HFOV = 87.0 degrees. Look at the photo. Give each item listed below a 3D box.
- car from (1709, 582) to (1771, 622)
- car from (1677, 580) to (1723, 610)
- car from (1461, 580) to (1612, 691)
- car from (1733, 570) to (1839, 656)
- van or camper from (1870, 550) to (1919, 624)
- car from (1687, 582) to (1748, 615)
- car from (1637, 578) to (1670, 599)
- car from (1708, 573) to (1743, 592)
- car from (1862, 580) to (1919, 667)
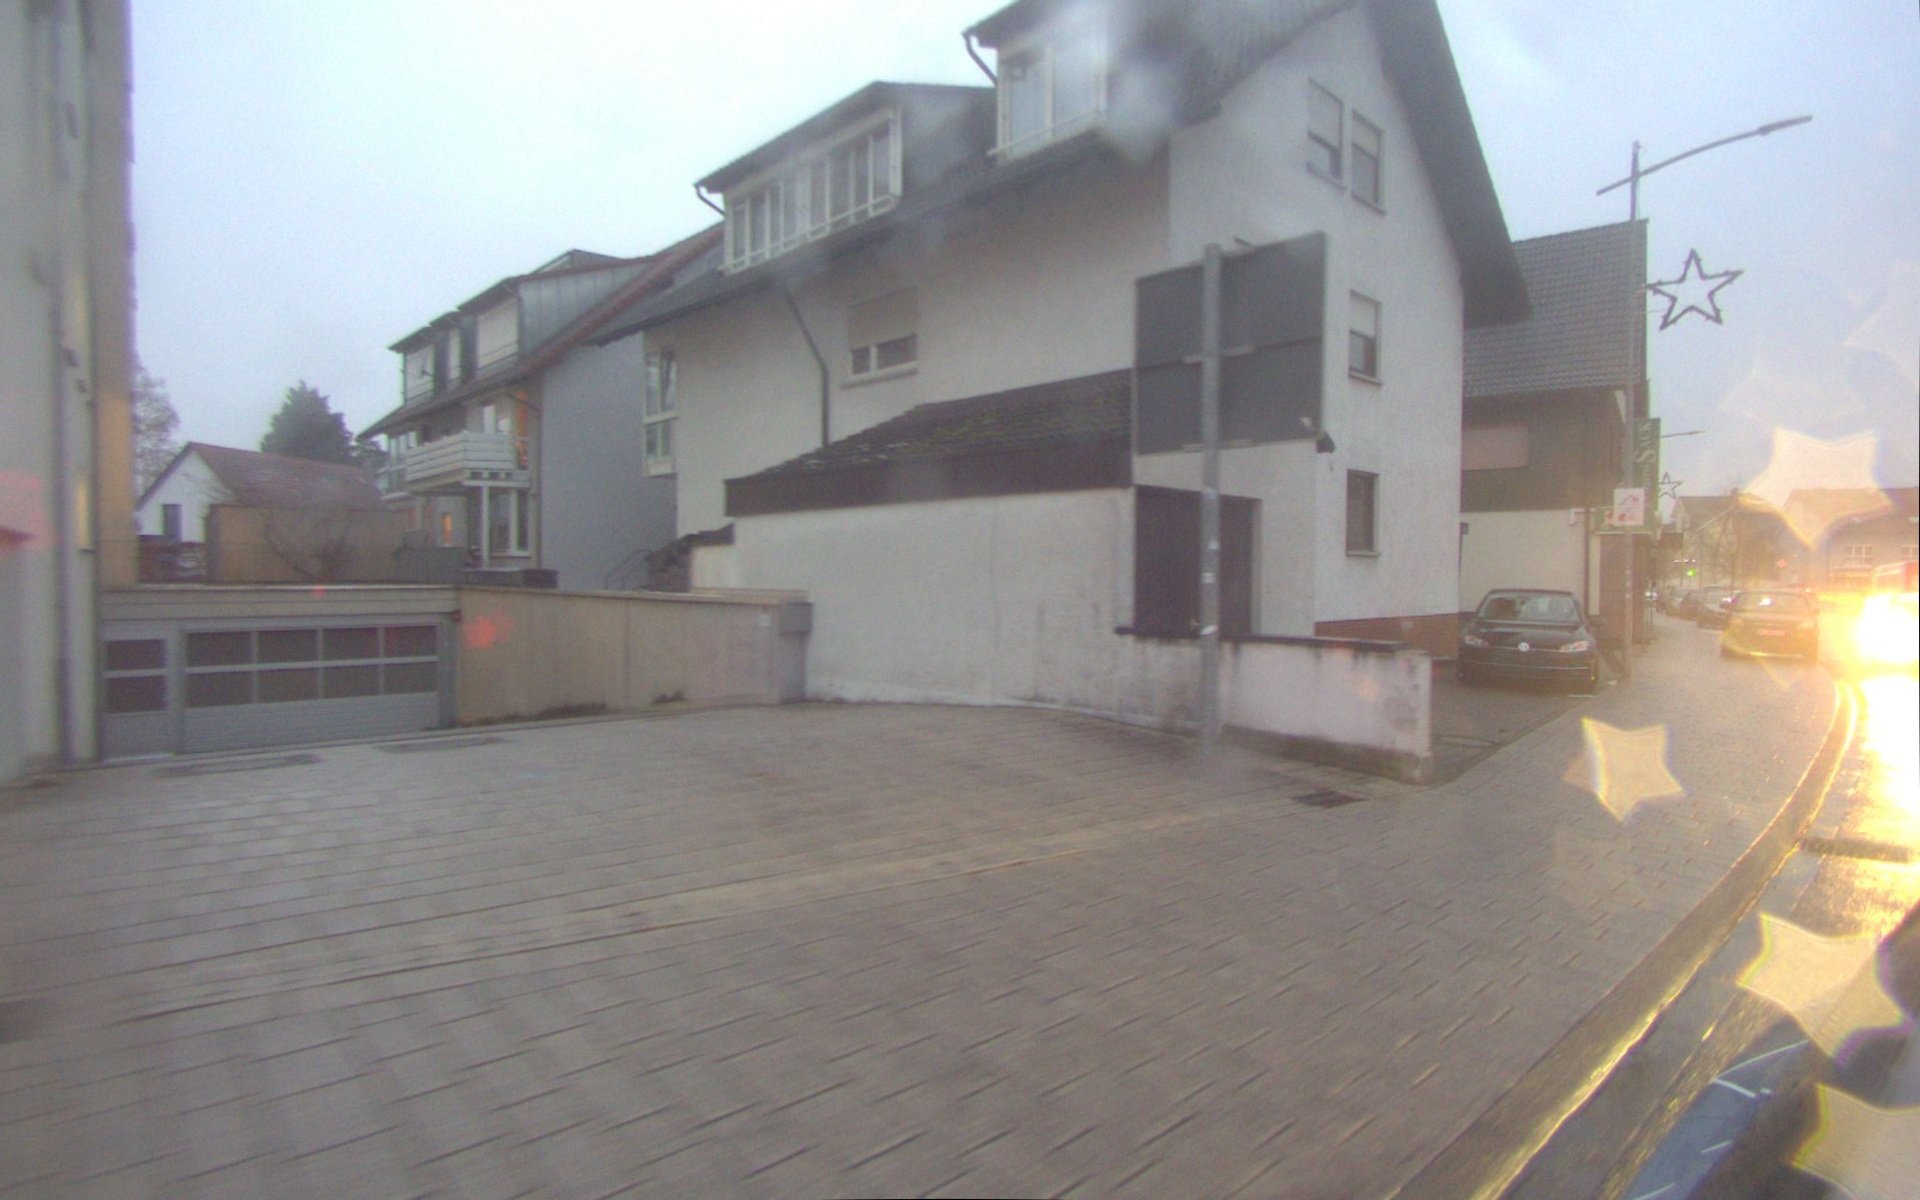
[{"bbox_3d":[32.502,0.055,42.264,1.646,1.472,4.188,4,3,33],"label":"car"},{"bbox_3d":[41.628,-0.326,57.021,1.657,1.595,4.448,2,2,31],"label":"car"},{"bbox_3d":[8.970,0.431,15.705,1.758,1.410,3.871,3,3,31],"label":"car"},{"bbox_3d":[20.063,0.251,24.555,1.769,1.803,3.941,5,4,41],"label":"car"},{"bbox_3d":[37.858,-0.485,39.518,2.231,2.702,6.481,2,2,32],"label":"van or camper"},{"bbox_3d":[38.202,-0.107,51.156,1.947,1.552,4.954,-2,0,31],"label":"car"},{"bbox_3d":[55.511,-0.938,81.066,1.798,1.583,4.259,2,2,30],"label":"car"},{"bbox_3d":[65.899,-1.499,87.144,1.651,1.656,3.520,0,1,25],"label":"car"},{"bbox_3d":[20.186,0.498,20.874,1.896,1.661,4.504,-3,-3,37],"label":"car"}]
